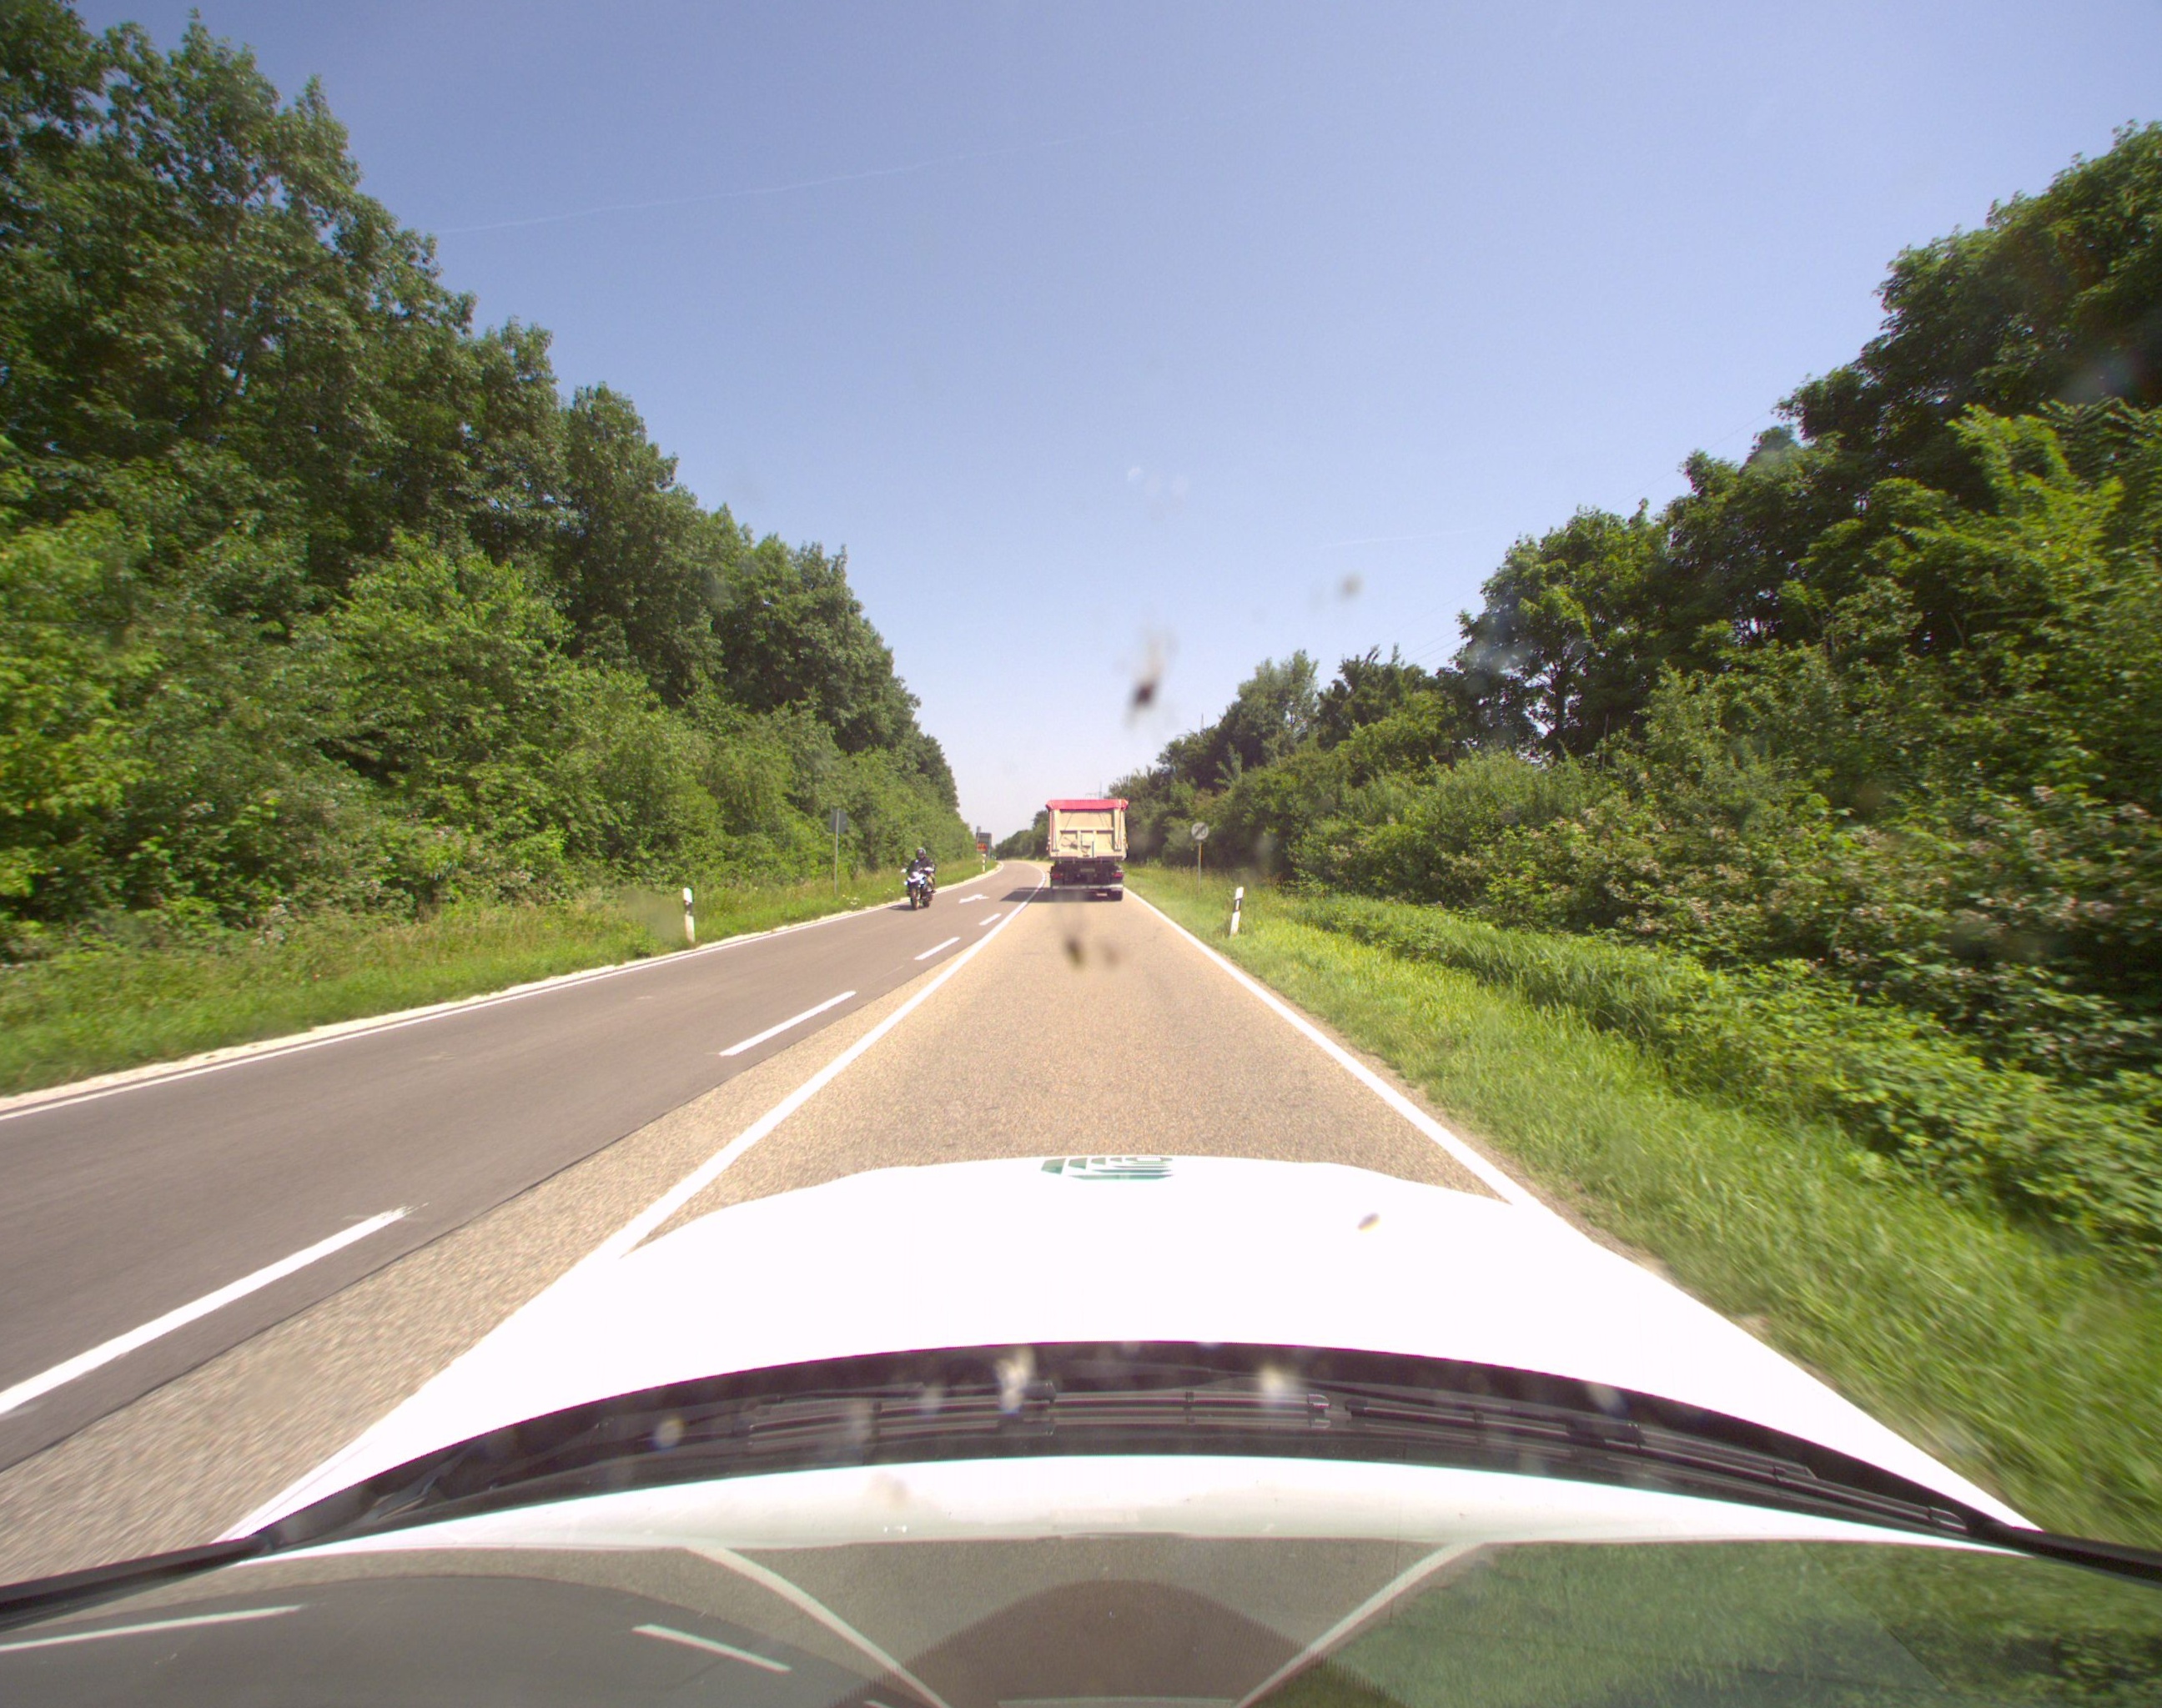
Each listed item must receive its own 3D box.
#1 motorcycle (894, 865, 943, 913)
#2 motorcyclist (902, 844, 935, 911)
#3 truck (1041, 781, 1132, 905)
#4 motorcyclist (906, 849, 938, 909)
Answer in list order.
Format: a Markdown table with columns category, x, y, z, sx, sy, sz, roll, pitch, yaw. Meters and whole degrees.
| category | x | y | z | sx | sy | sz | roll | pitch | yaw |
| --- | --- | --- | --- | --- | --- | --- | --- | --- | --- |
| motorcycle | -4.686 | 0.980 | 23.697 | 0.944 | 1.251 | 2.681 | 0 | 0 | -1 |
| motorcyclist | -4.664 | 0.654 | 23.341 | 0.818 | 1.882 | 0.657 | 0 | 0 | -2 |
| truck | 0.310 | -0.361 | 32.073 | 2.883 | 3.962 | 11.935 | 0 | 0 | 1 |
| motorcyclist | -4.698 | 0.724 | 24.067 | 0.828 | 1.752 | 0.623 | 0 | 0 | -2 |
